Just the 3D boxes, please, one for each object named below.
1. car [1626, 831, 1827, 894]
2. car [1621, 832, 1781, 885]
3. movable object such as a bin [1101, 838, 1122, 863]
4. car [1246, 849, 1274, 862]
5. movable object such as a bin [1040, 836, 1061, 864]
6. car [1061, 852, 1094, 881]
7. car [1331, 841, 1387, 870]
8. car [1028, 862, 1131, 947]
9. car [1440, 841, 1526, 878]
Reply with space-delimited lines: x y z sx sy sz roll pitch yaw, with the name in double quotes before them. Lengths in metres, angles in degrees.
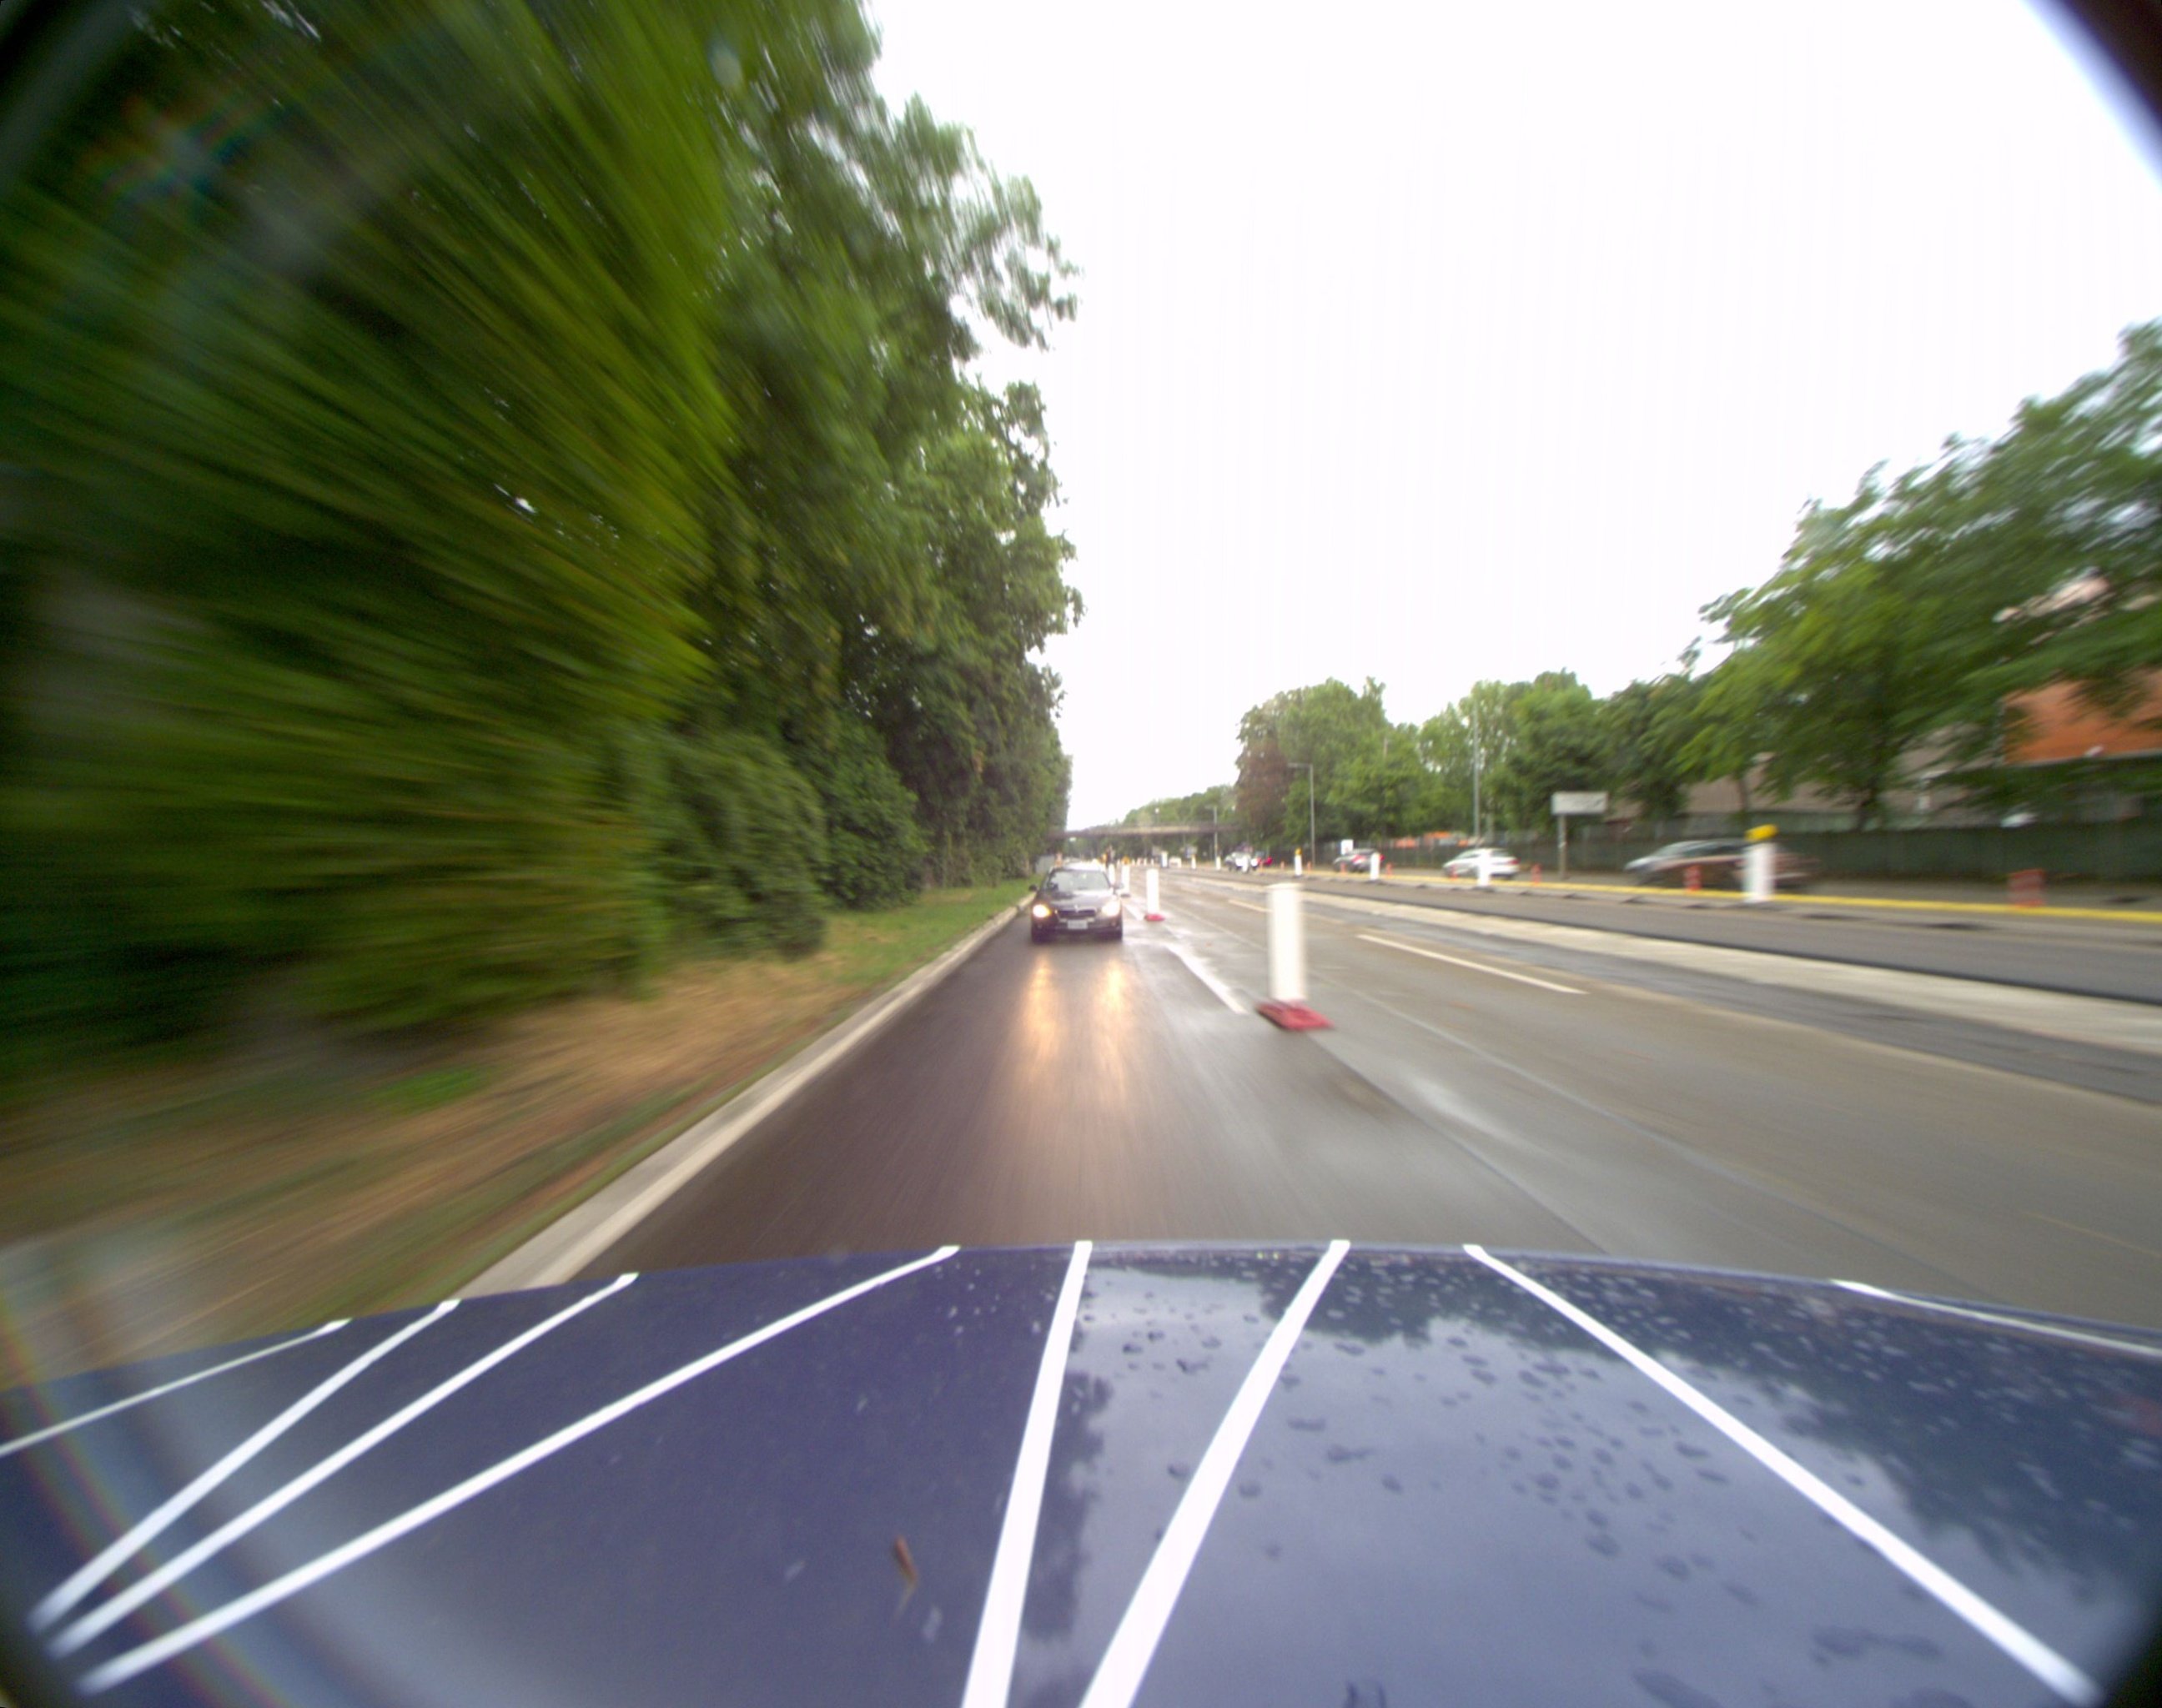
"car" 17.935 0.194 21.460 1.898 1.493 4.516 -3 1 1
"car" 20.937 0.120 25.905 1.999 1.577 4.178 -3 1 0
"movable object such as a bin" 5.799 -0.735 145.842 3.527 4.495 10.068 -3 1 0
"car" 20.820 0.163 88.392 2.051 1.446 4.764 -3 1 0
"movable object such as a bin" -4.507 -0.620 113.786 2.890 3.917 6.104 -3 1 -2
"car" -0.214 0.773 49.857 1.999 1.650 4.228 -3 1 0
"car" 18.266 0.065 50.196 1.993 1.758 4.674 -3 1 1
"car" -0.085 0.956 16.047 1.838 1.397 3.999 -3 1 -2
"car" 18.371 0.219 34.920 1.808 1.525 3.991 -3 1 0
